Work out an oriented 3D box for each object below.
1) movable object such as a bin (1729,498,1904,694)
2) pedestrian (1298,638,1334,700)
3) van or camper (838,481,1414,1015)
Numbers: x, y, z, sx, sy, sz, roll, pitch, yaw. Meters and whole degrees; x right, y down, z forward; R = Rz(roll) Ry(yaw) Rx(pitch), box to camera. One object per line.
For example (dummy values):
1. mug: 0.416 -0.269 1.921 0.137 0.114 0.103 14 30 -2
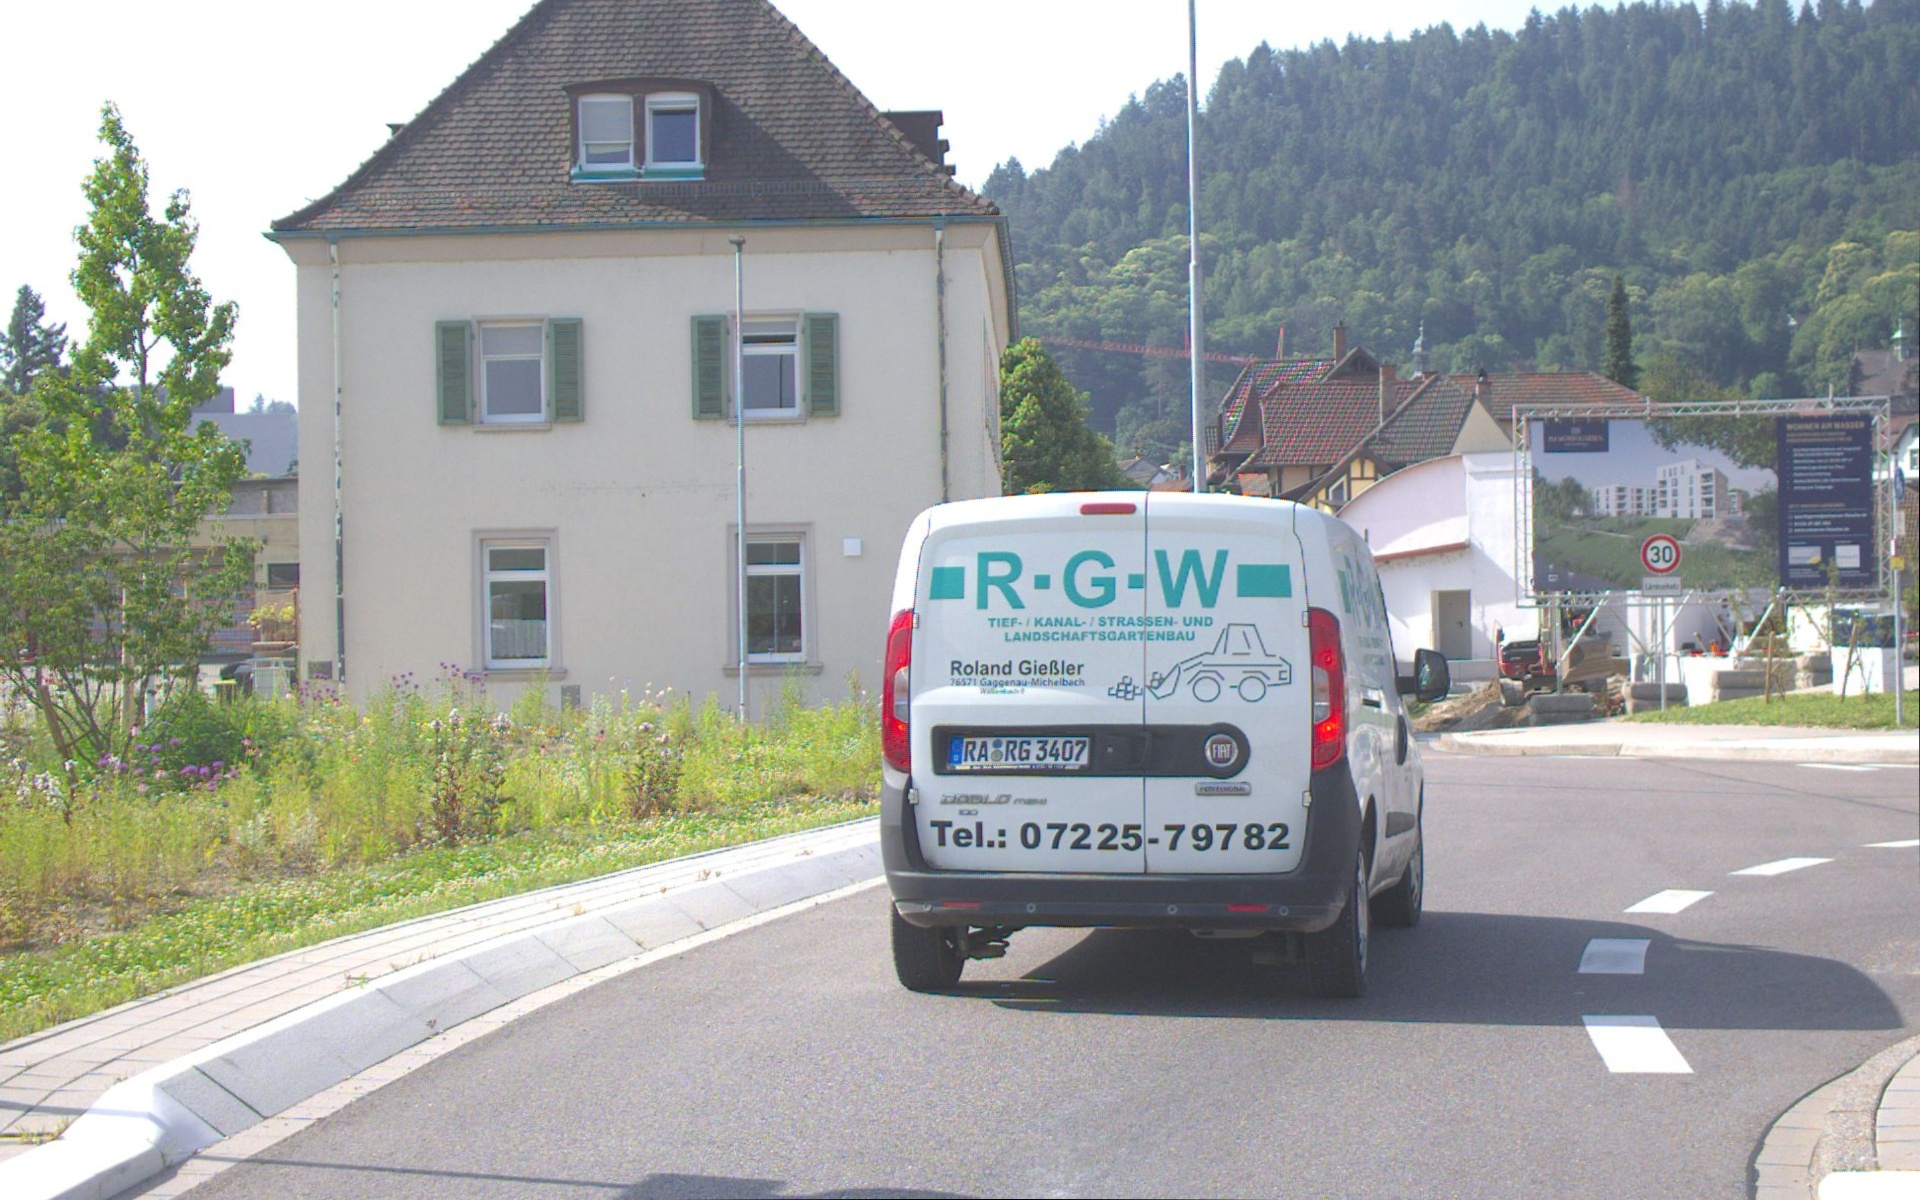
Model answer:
1. movable object such as a bin: 17.880 -0.040 72.177 2.295 3.841 7.796 1 -1 5
2. pedestrian: 9.715 1.892 93.899 0.888 1.677 0.718 1 -1 1
3. van or camper: 0.837 0.545 14.068 1.829 1.838 4.186 0 -1 10
